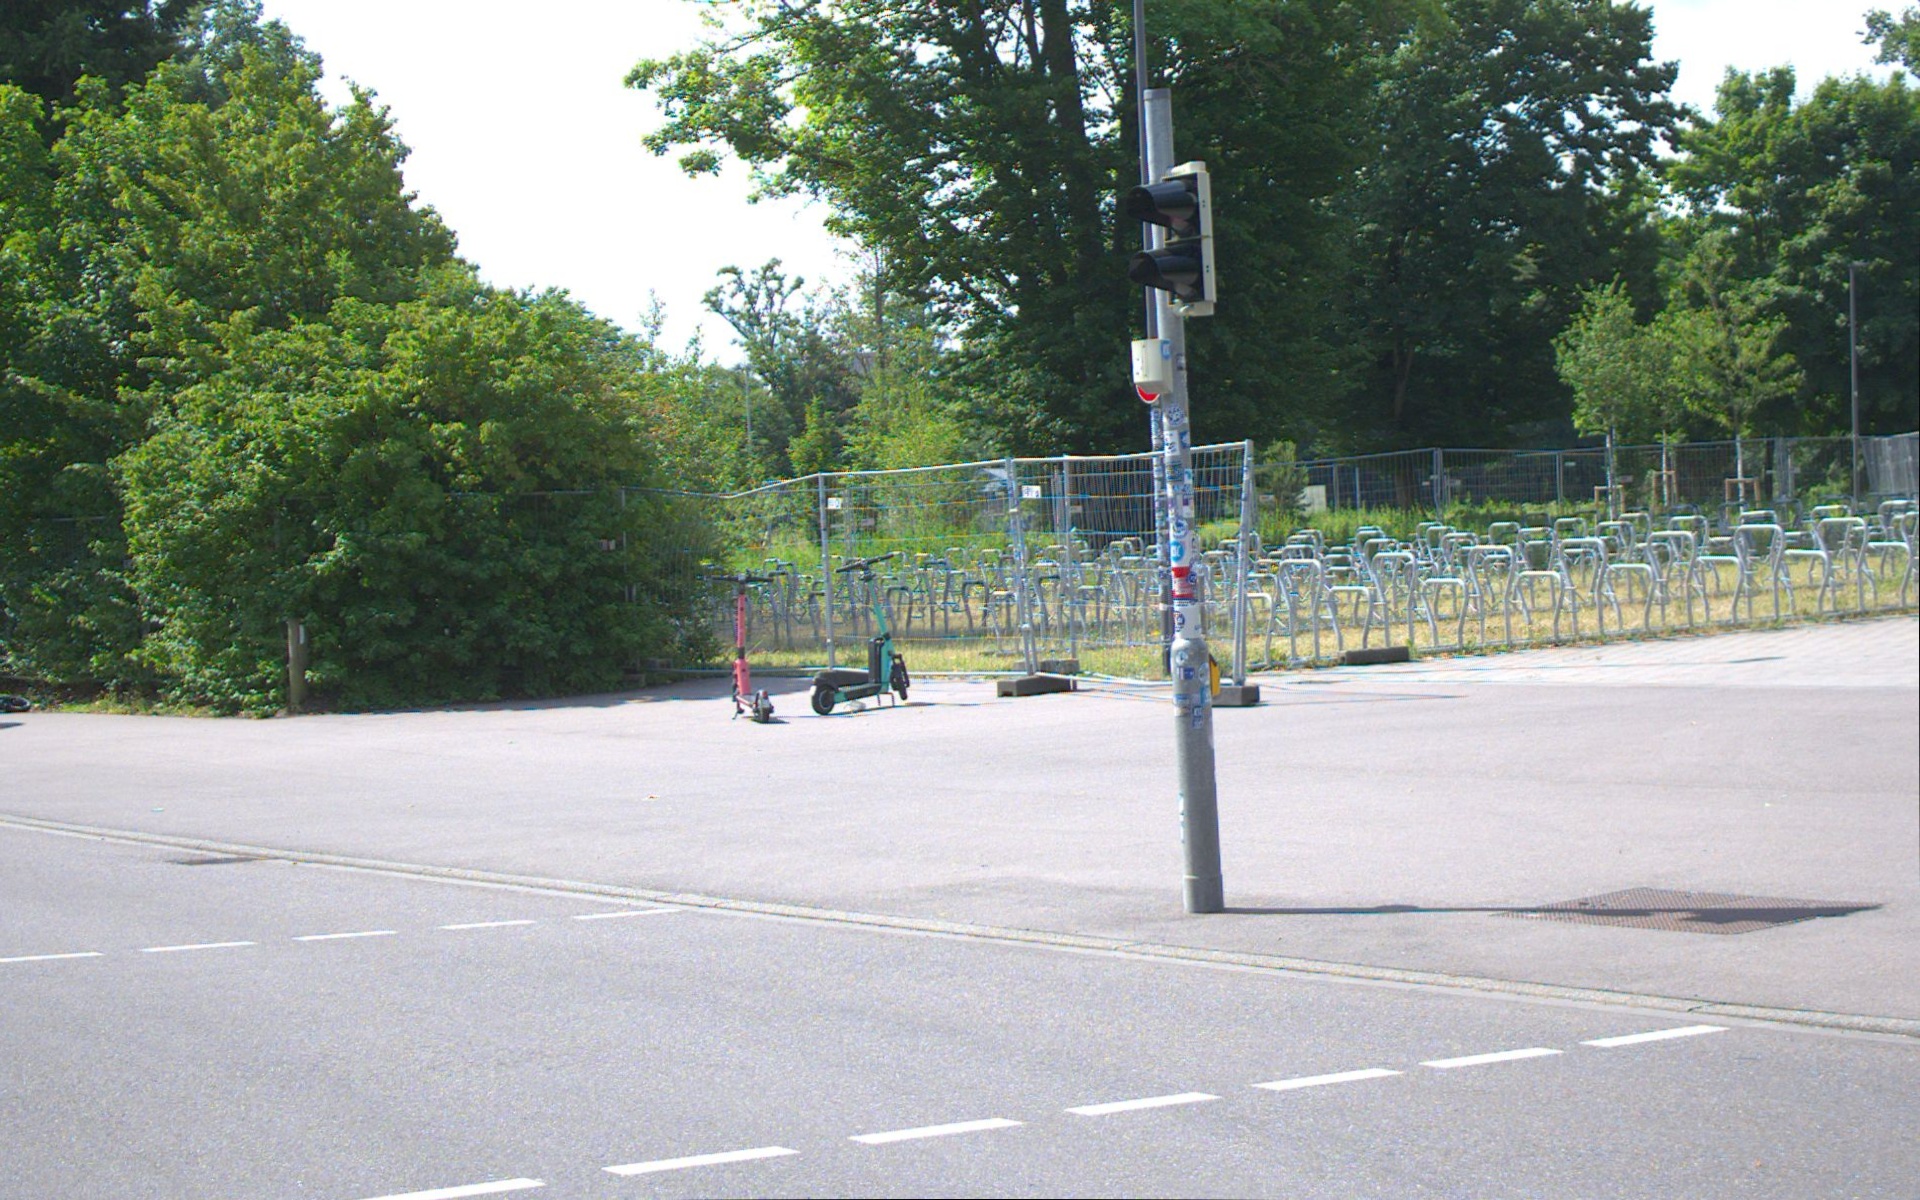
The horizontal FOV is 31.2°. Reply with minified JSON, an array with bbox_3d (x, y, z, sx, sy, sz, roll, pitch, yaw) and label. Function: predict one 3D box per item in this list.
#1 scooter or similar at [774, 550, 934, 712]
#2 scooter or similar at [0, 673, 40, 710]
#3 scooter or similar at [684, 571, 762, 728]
[{"bbox_3d":[-0.870,0.253,28.477,1.308,1.247,0.407,-5,2,-42],"label":"scooter or similar"},{"bbox_3d":[-10.775,0.987,37.650,0.853,0.387,1.473,3,-2,-37],"label":"scooter or similar"},{"bbox_3d":[-1.914,0.390,27.865,0.406,1.196,1.312,-3,1,3],"label":"scooter or similar"}]
